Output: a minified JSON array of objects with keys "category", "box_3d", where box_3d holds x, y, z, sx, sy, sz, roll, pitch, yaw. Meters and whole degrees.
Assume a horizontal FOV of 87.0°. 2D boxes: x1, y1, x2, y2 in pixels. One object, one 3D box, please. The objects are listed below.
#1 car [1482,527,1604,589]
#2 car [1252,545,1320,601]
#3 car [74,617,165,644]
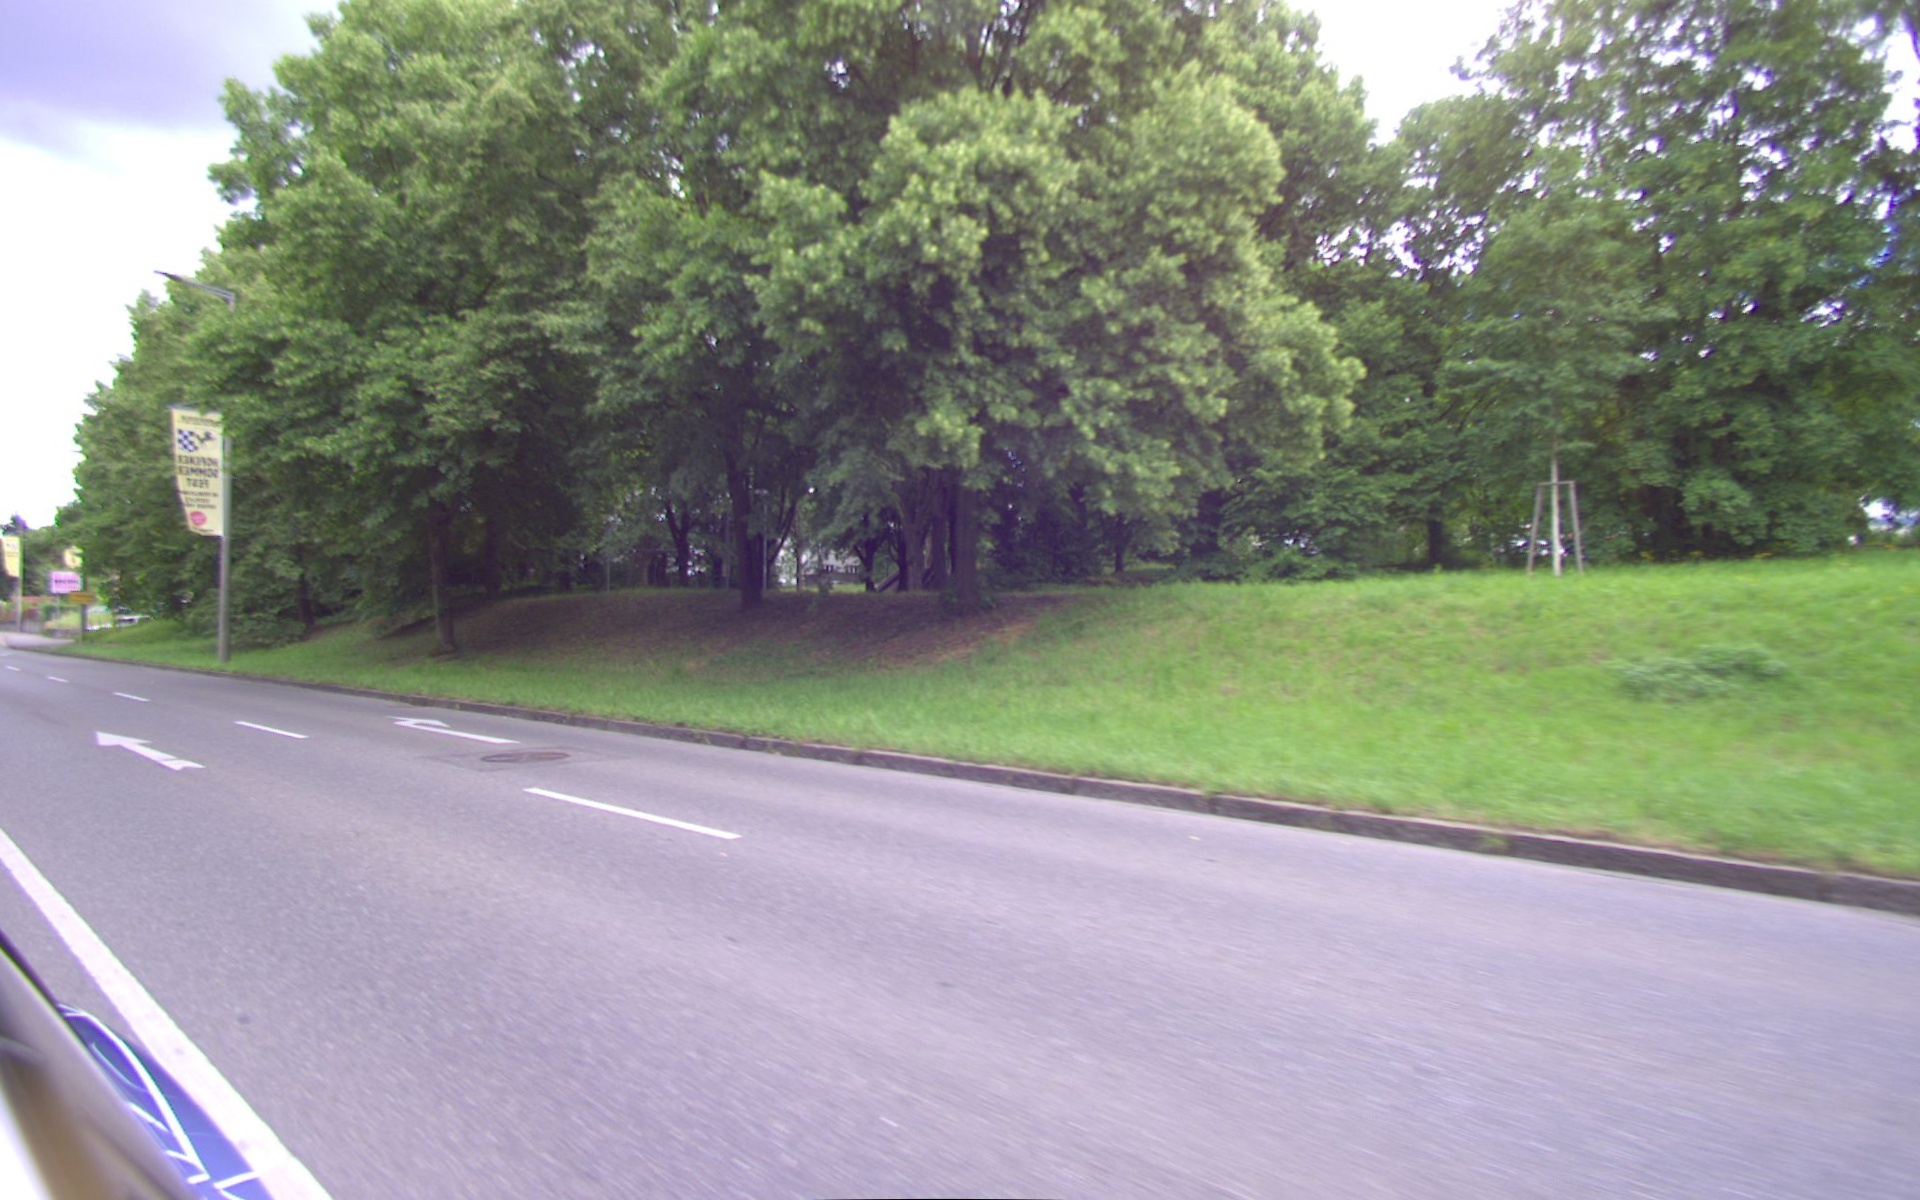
[{"category":"car","box_3d":[19.982,-1.376,34.983,2.298,1.910,4.883,-1,0,13]},{"category":"car","box_3d":[12.084,-0.951,37.801,1.980,1.910,4.883,-1,0,13]},{"category":"car","box_3d":[-53.581,1.939,64.548,1.746,1.503,4.169,-3,-2,37]}]
